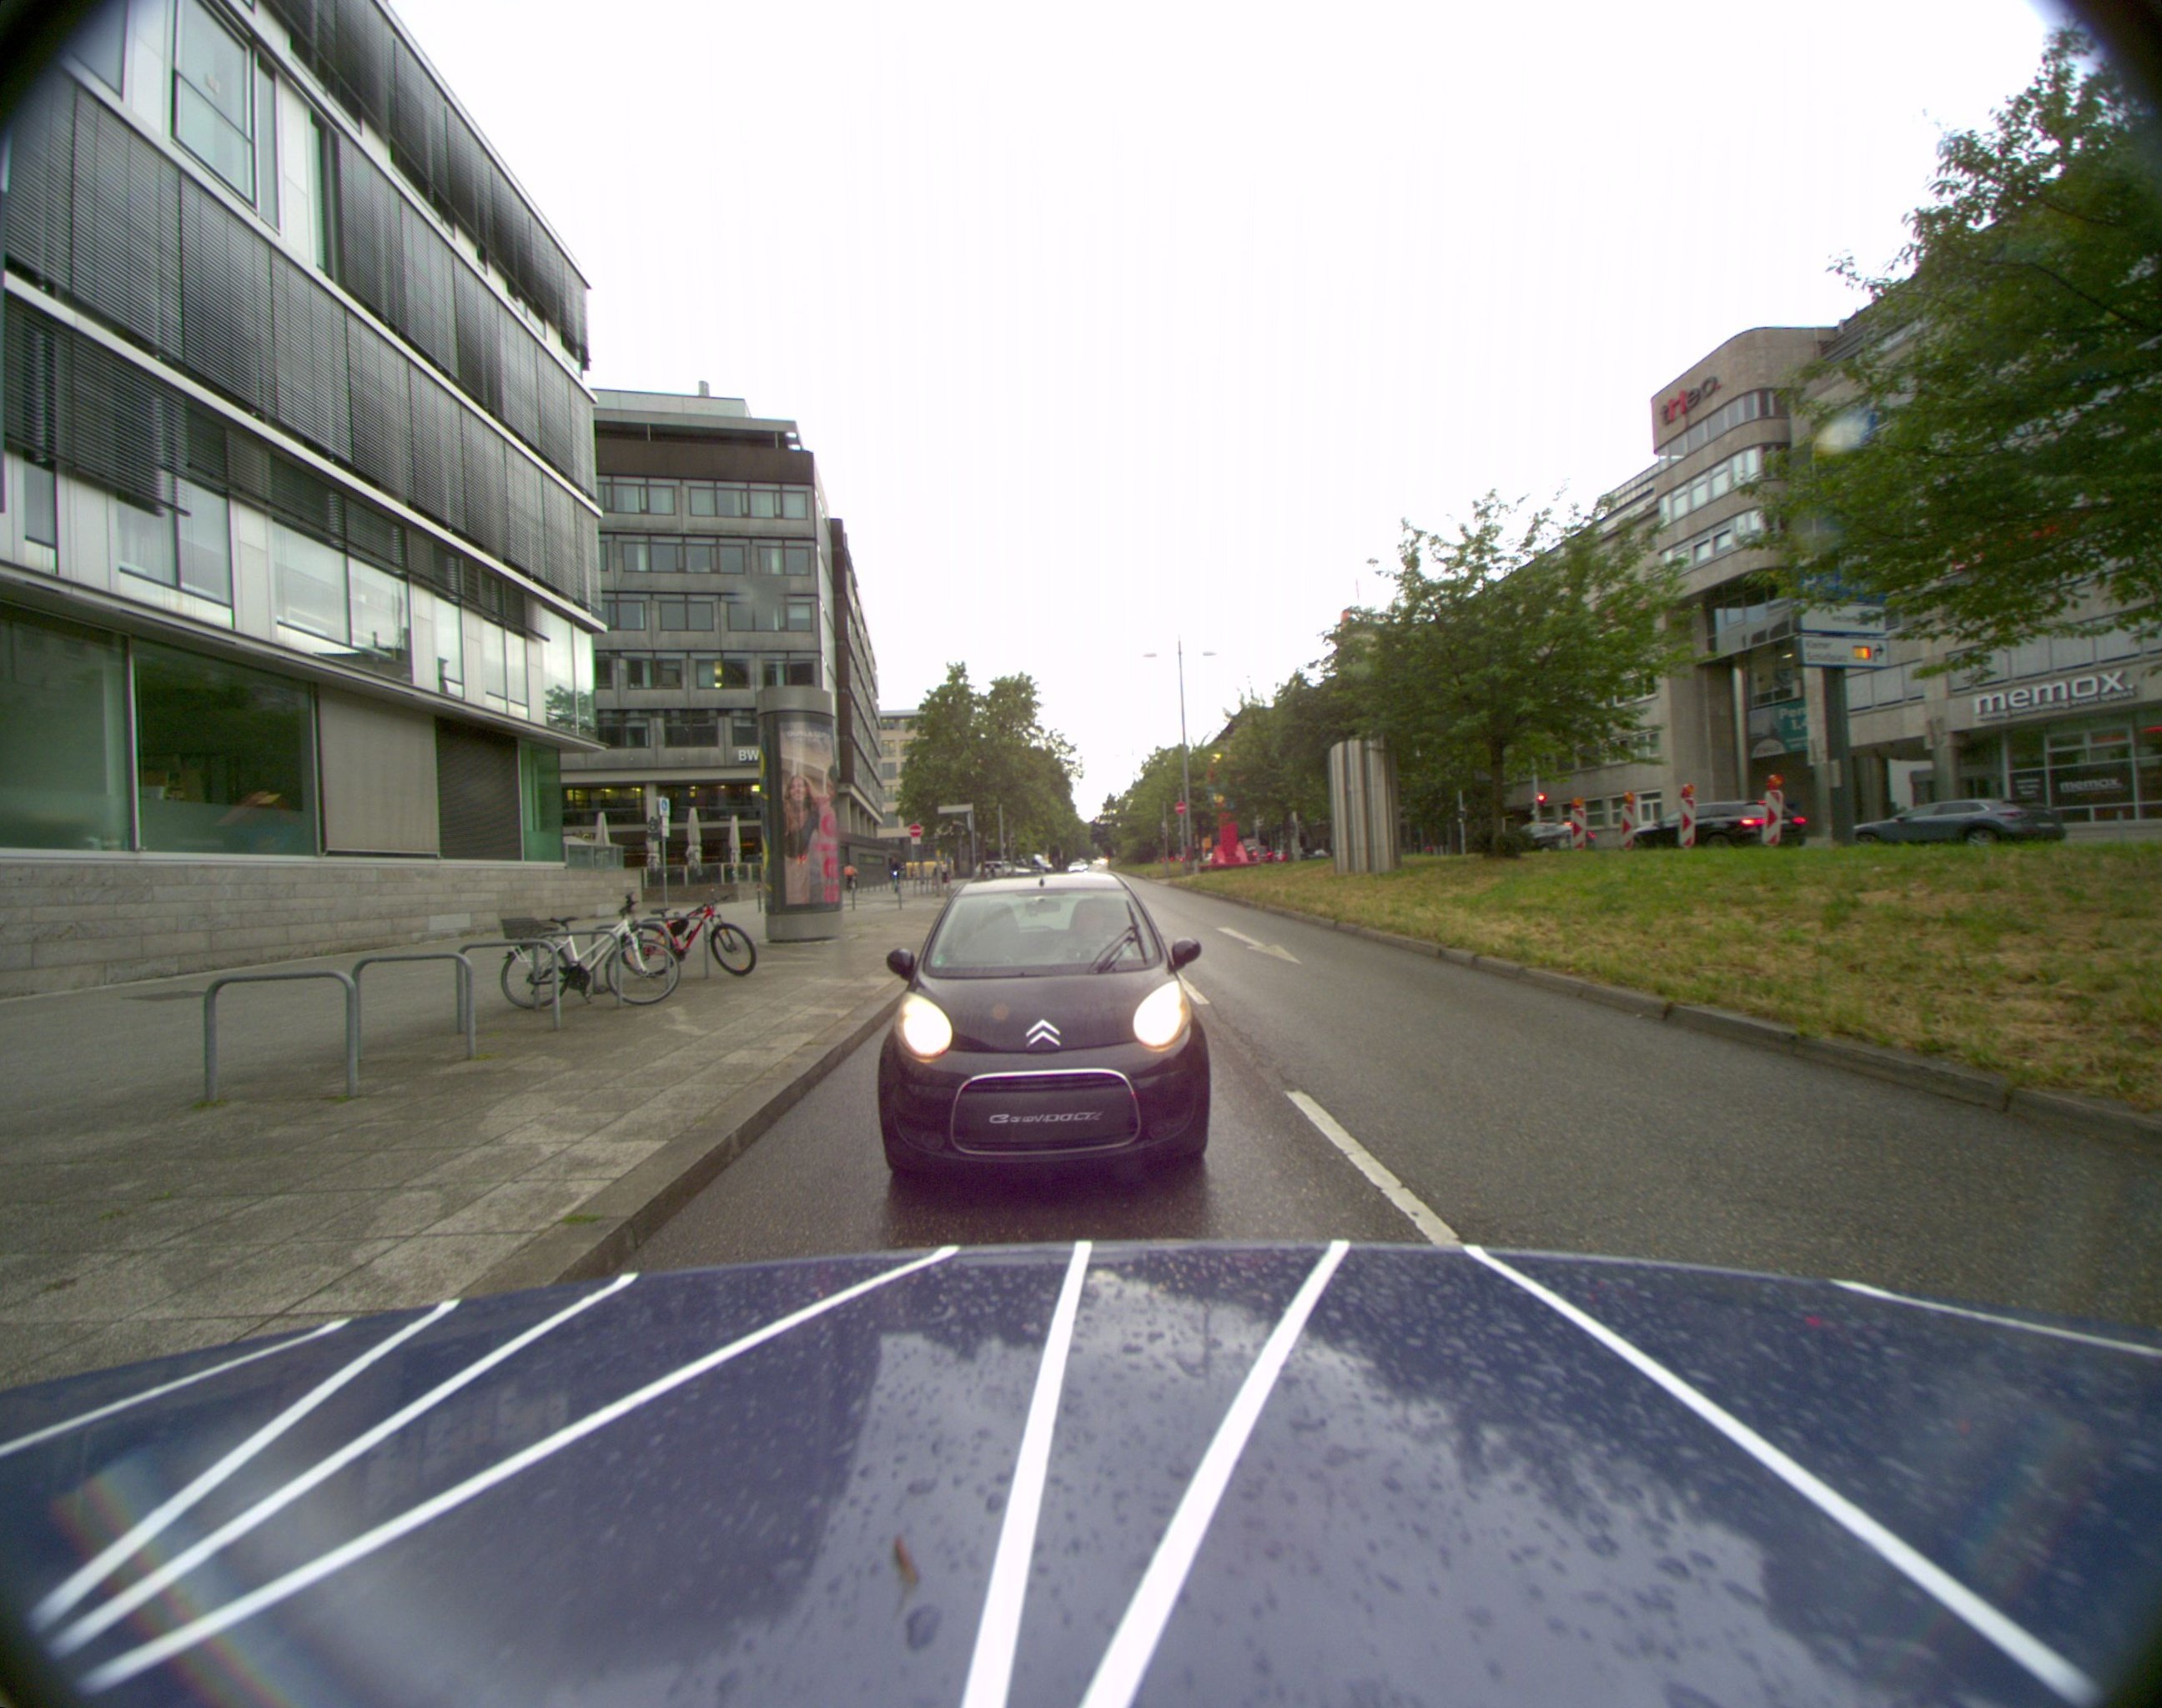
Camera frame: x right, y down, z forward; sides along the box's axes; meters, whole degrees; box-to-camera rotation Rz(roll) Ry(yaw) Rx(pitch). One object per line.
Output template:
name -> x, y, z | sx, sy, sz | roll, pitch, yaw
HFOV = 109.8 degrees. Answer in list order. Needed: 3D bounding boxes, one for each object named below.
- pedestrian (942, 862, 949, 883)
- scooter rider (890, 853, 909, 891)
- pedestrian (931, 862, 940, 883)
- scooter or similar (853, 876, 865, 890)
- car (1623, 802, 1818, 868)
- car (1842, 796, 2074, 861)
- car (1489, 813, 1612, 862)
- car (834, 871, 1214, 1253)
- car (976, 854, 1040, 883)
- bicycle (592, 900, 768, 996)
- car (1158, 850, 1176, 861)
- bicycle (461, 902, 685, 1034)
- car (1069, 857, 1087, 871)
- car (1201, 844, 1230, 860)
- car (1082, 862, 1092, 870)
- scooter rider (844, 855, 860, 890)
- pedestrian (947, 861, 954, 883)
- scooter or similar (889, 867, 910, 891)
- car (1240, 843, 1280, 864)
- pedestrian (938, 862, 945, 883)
pedestrian -> -10.951, 1.466, 61.487 | 0.452, 1.692, 0.497 | -2, 1, -2
scooter rider -> -10.048, 0.982, 42.103 | 0.780, 2.009, 0.924 | -2, 1, 1
pedestrian -> -11.786, 1.498, 61.527 | 0.552, 1.692, 0.547 | -2, 1, -2
scooter or similar -> -13.004, 1.697, 44.547 | 0.408, 0.768, 1.276 | -2, 0, -5
car -> 17.952, -0.493, 21.626 | 1.880, 1.571, 4.106 | -5, 0, -3
car -> 24.753, -0.653, 21.695 | 1.575, 1.571, 4.105 | -5, 0, -7
car -> 17.647, -0.576, 28.819 | 1.880, 1.571, 4.106 | -5, 0, -3
car -> -0.291, 0.951, 5.195 | 1.595, 1.501, 3.708 | -3, 0, -2
car -> -5.360, 1.060, 55.512 | 4.202, 1.801, 2.003 | -4, 1, 32
bicycle -> -5.130, 1.195, 9.812 | 1.876, 1.103, 0.669 | -1, 0, -2
car -> 13.628, 0.239, 121.047 | 2.073, 1.578, 4.106 | -5, 0, -3
bicycle -> -5.237, 1.152, 7.940 | 1.797, 1.199, 0.669 | -1, 0, -9
car -> -0.397, 1.349, 102.466 | 2.073, 1.578, 4.106 | -5, 0, -3
car -> 14.473, -0.236, 82.058 | 2.073, 1.578, 4.106 | -5, 0, -3
car -> 1.042, 2.147, 135.948 | 1.606, 1.377, 3.018 | -5, 0, -3
scooter rider -> -13.381, 1.082, 44.436 | 0.627, 2.013, 0.854 | -2, 1, -5
pedestrian -> -10.575, 1.451, 61.559 | 0.452, 1.692, 0.497 | -2, 1, -2
scooter or similar -> -10.038, 1.372, 42.152 | 0.780, 1.298, 1.335 | -2, 0, 1
car -> 15.023, -0.060, 63.980 | 2.073, 1.578, 4.106 | -5, 0, -3
pedestrian -> -11.315, 1.479, 61.575 | 0.452, 1.692, 0.547 | -2, 1, -2
